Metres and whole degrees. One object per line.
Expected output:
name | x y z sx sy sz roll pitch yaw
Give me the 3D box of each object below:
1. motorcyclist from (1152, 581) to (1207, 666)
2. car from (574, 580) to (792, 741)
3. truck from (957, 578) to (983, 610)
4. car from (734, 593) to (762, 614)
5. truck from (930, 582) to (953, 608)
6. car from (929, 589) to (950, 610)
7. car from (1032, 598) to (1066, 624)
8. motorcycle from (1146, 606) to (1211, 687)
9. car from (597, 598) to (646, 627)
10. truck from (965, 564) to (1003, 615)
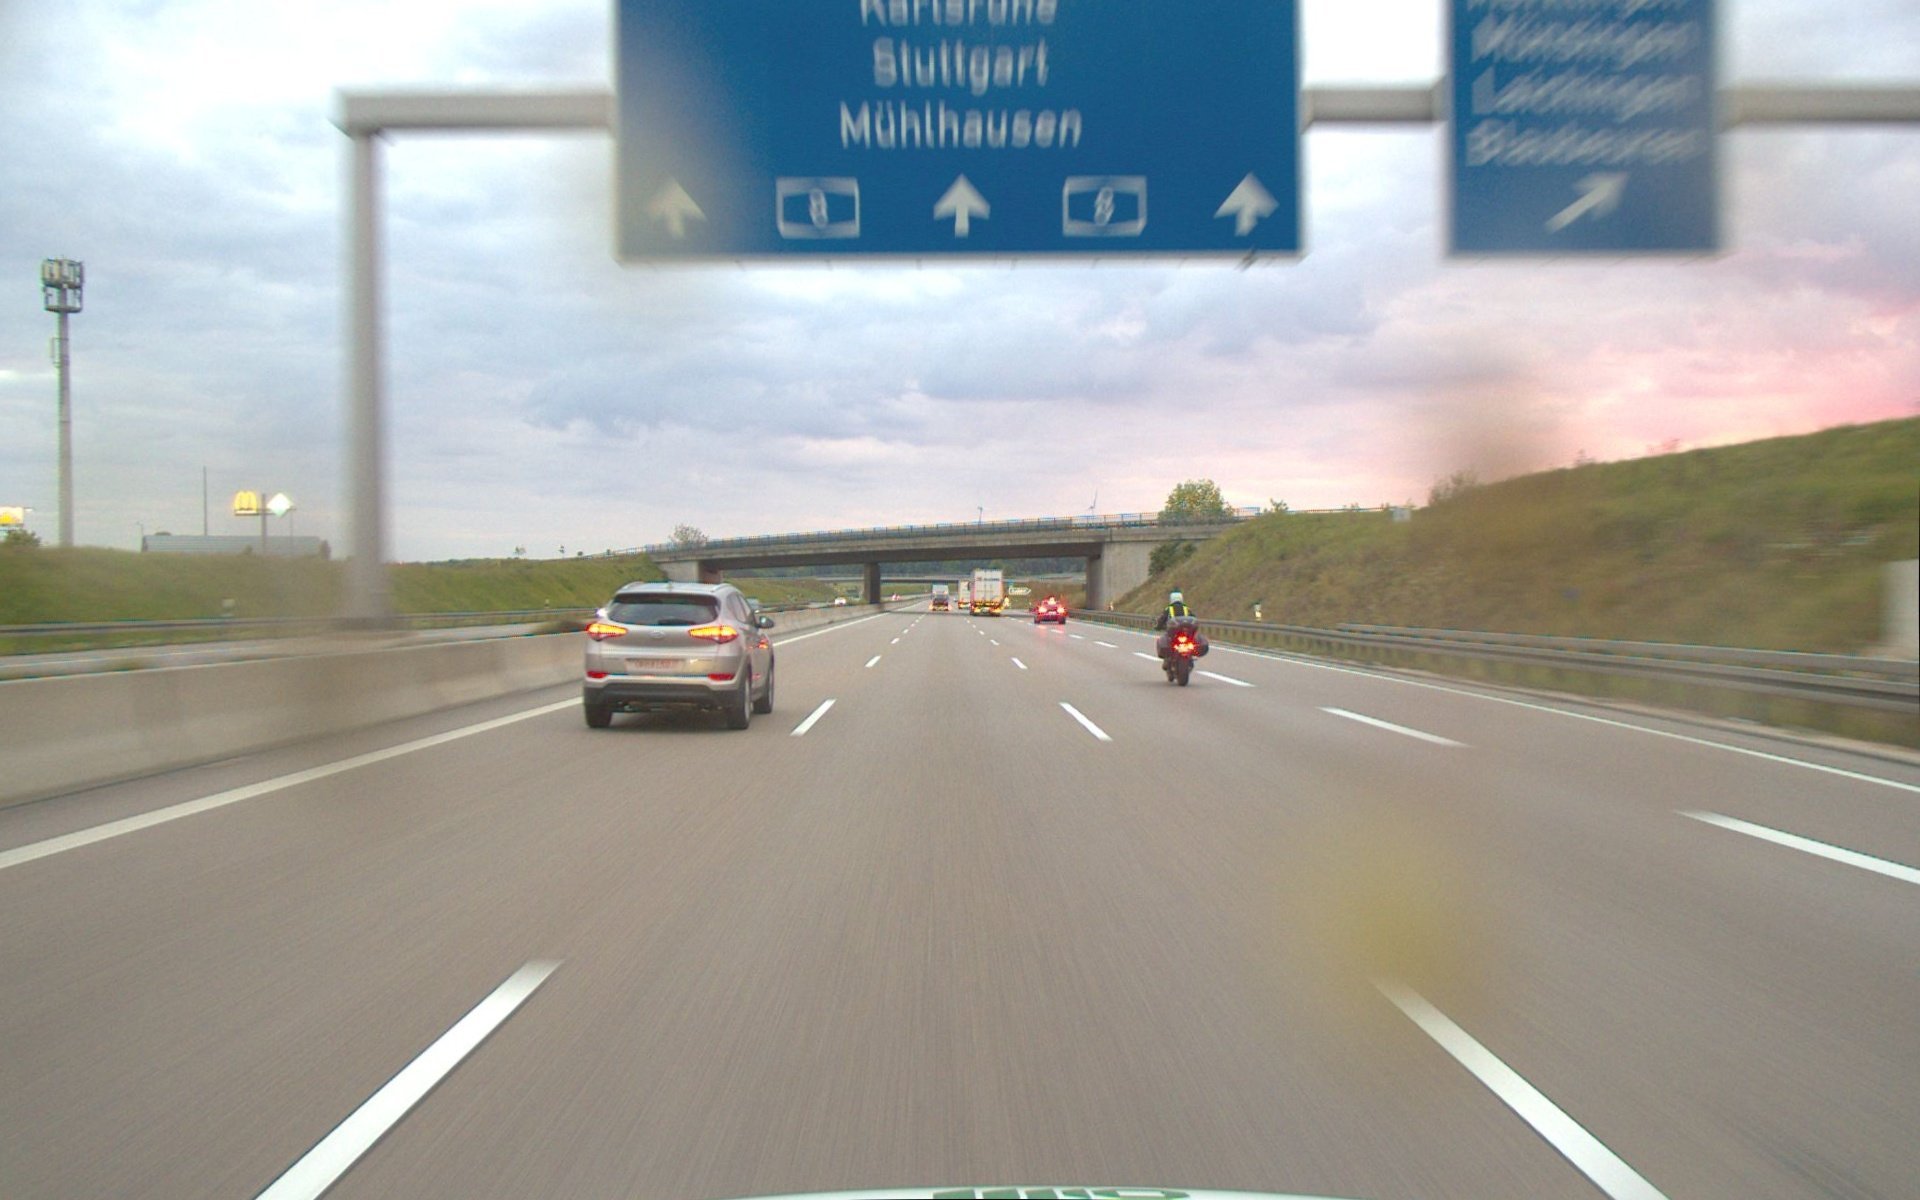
motorcyclist | 4.024 0.419 30.434 0.848 1.513 1.168 1 1 1
car | -3.242 0.630 20.450 1.815 1.722 5.511 0 0 -1
truck | 1.373 -0.932 239.084 3.454 4.421 8.404 1 1 -1
car | -17.029 0.273 132.983 1.782 1.657 4.000 1 0 0
truck | -2.410 -0.664 214.035 2.892 3.273 8.404 1 1 -1
car | -2.465 -0.055 198.088 2.465 2.433 6.494 0 0 -1
car | 5.700 0.719 106.390 1.879 1.607 3.999 0 0 -1
motorcycle | 4.011 0.832 30.533 0.883 1.370 2.349 0 1 0
car | -19.727 0.732 96.601 1.953 1.630 5.198 1 0 -2
truck | 2.053 -0.953 147.553 3.167 4.301 9.598 1 1 0
